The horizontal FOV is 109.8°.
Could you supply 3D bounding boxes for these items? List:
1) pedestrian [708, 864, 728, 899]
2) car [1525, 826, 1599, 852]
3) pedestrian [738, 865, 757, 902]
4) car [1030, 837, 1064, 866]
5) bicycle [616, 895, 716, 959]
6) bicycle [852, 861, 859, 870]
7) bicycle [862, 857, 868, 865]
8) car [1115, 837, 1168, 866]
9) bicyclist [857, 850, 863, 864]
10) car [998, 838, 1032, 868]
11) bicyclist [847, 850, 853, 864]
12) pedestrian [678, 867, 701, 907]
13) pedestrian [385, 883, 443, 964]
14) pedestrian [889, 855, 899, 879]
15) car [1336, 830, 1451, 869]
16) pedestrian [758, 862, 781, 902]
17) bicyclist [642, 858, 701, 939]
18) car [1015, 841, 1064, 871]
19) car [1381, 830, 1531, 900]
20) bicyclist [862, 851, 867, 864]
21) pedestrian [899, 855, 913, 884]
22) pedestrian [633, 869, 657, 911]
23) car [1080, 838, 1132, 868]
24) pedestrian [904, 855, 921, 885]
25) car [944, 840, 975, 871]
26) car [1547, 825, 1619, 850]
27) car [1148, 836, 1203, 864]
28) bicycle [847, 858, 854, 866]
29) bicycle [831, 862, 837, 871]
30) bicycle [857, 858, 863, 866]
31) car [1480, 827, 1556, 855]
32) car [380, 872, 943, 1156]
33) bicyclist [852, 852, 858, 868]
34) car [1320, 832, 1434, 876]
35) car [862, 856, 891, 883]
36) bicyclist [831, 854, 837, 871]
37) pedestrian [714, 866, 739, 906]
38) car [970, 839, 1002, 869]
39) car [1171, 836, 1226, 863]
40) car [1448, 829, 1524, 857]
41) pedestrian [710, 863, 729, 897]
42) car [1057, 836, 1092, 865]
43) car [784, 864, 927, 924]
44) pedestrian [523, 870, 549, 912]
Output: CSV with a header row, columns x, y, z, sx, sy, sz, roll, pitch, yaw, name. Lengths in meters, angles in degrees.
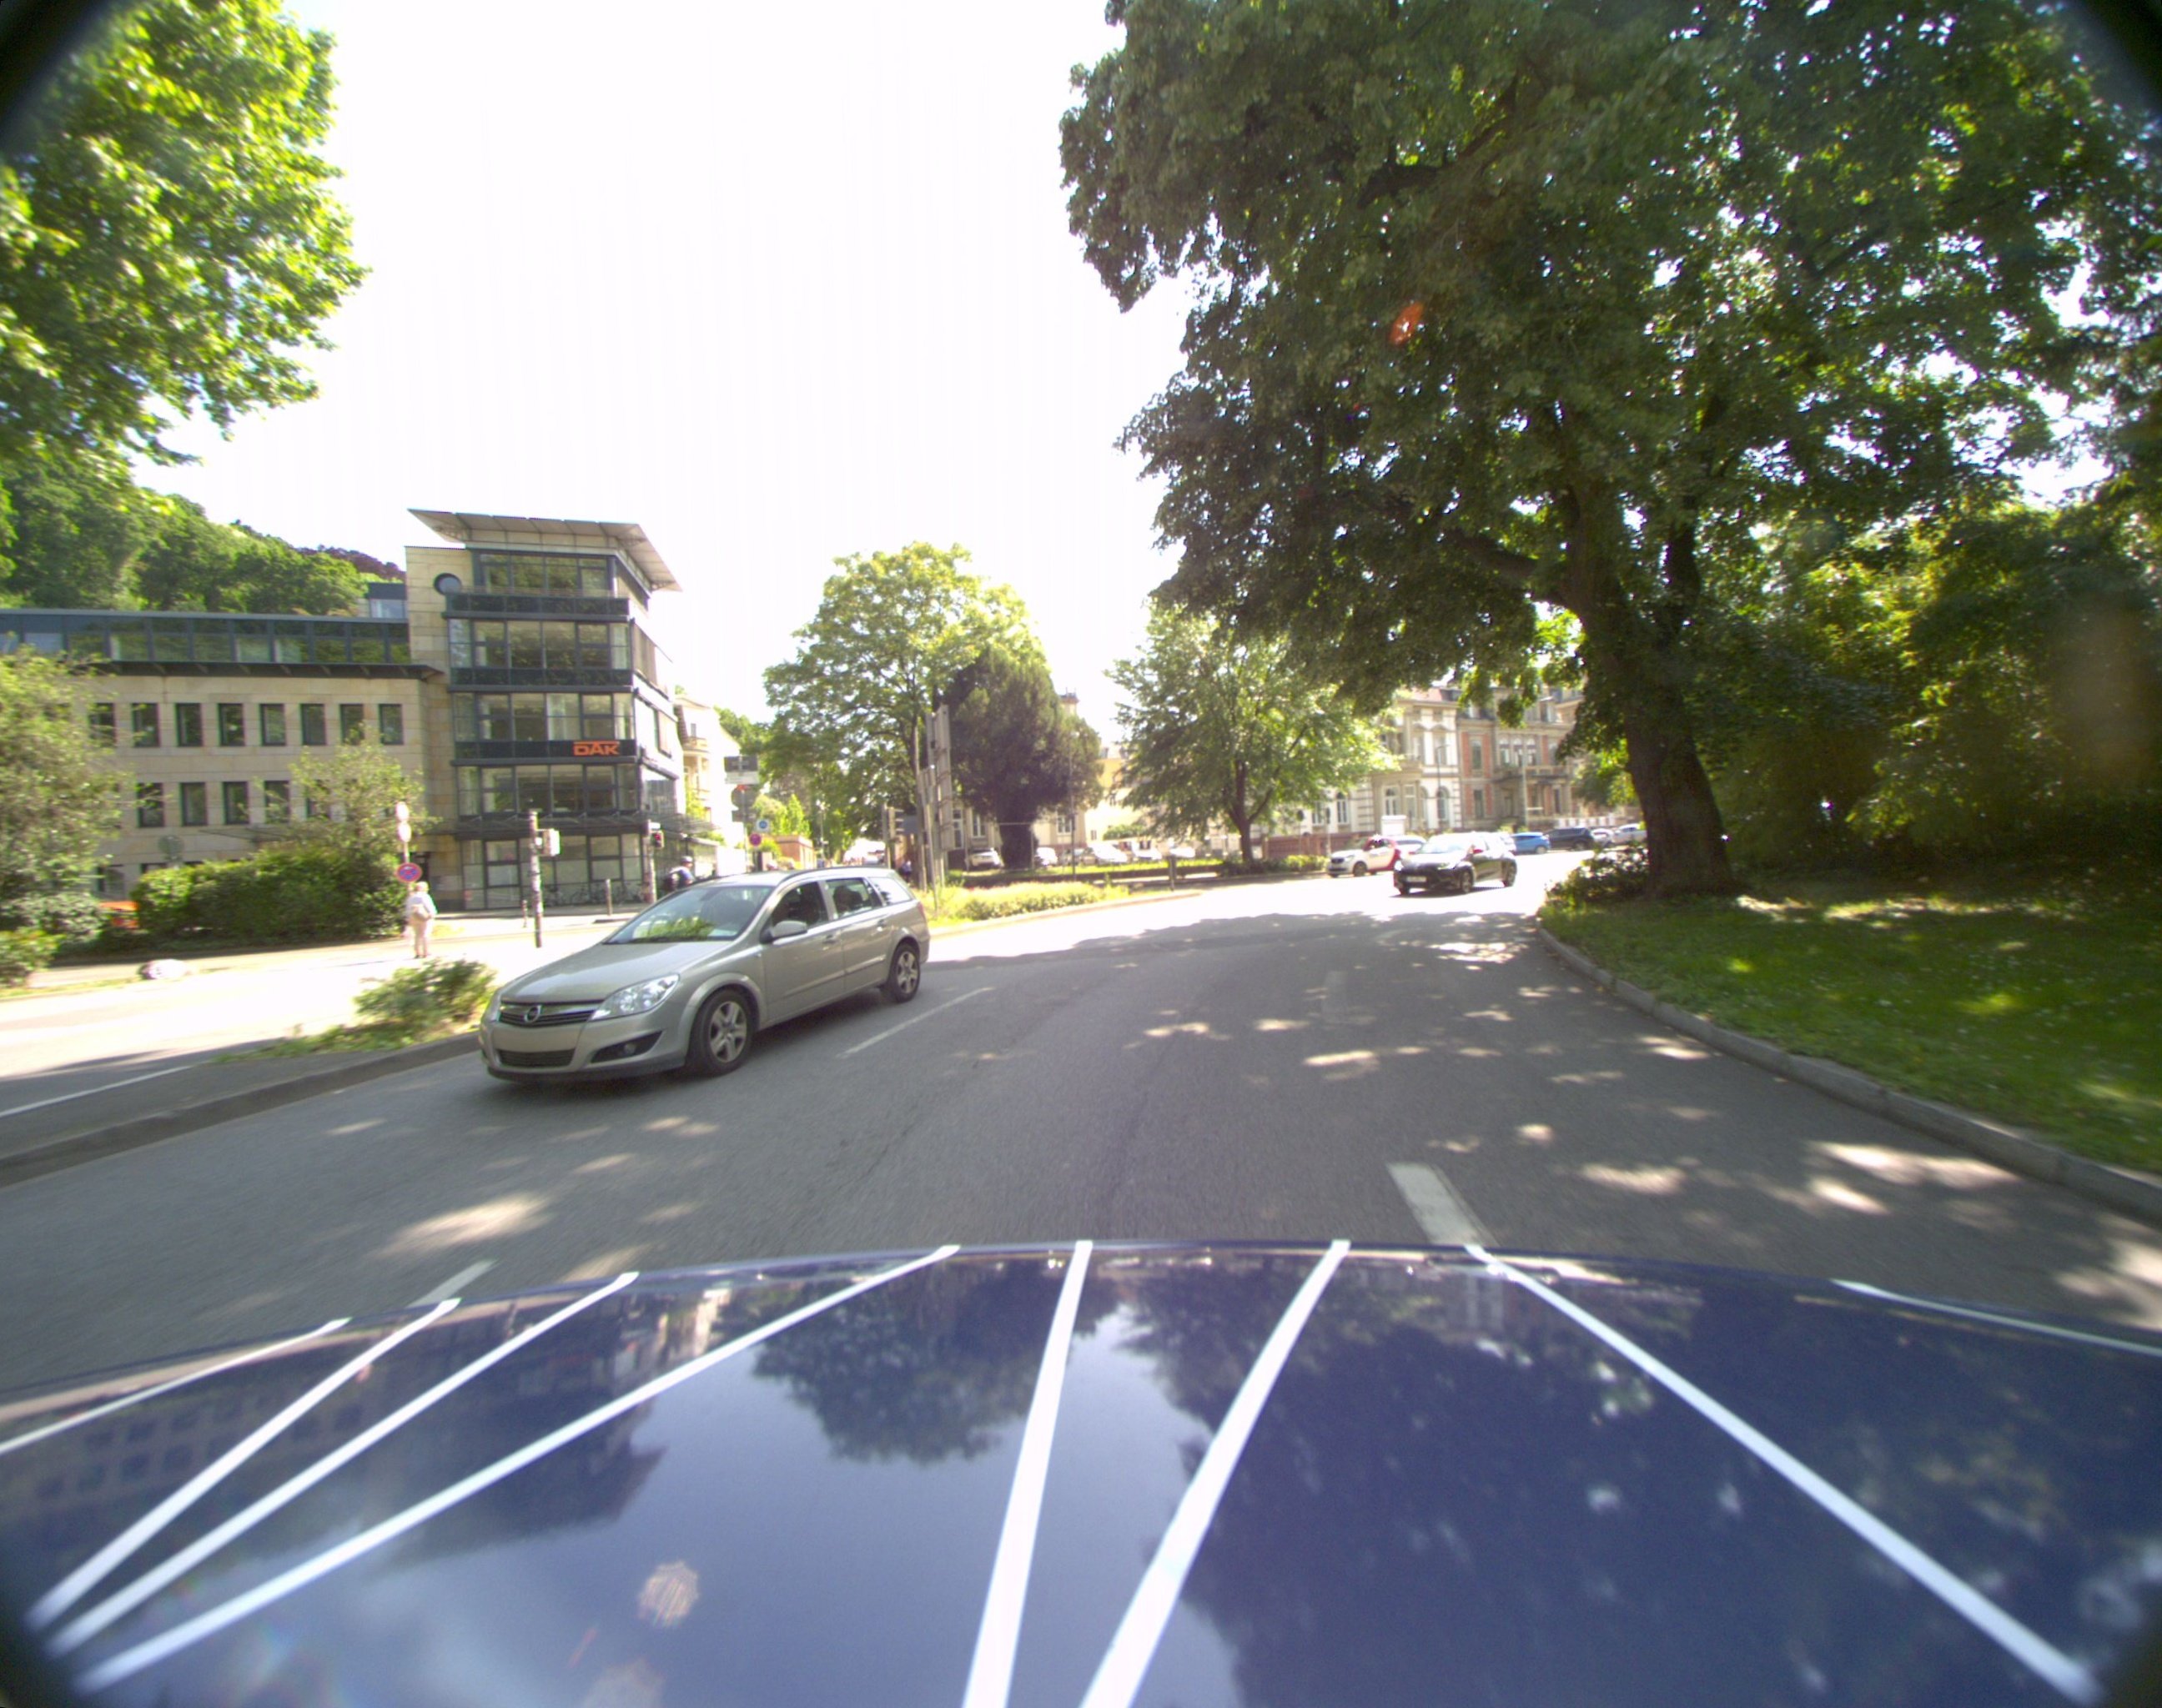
x,y,z,sx,sy,sz,roll,pitch,yaw,name
-17.910,1.352,37.496,0.602,1.695,0.604,-4,1,-10,pedestrian
31.725,-0.998,50.238,3.944,1.443,1.649,-4,1,28,car
-15.782,1.408,35.978,0.602,1.695,0.604,-4,1,-10,pedestrian
-2.635,-0.163,57.486,1.852,2.002,3.996,-3,0,-12,car
-8.485,1.458,15.662,0.711,1.048,2.207,-3,0,2,bicycle
-29.981,1.560,101.053,0.567,1.154,1.897,-3,0,-8,bicycle
-34.772,1.130,122.236,0.567,1.154,1.897,-3,0,-8,bicycle
3.729,-0.127,47.420,1.853,1.652,3.994,-3,0,-18,car
-32.163,0.470,110.618,0.574,2.002,0.906,-3,1,-8,bicyclist
-4.851,-0.054,55.249,1.852,2.002,3.996,-3,0,-12,car
-33.533,0.503,110.391,0.574,2.002,0.906,-3,1,-8,bicyclist
-17.344,1.454,33.652,0.604,1.695,0.689,-4,1,-9,pedestrian
-14.499,1.500,16.528,0.712,1.663,0.534,-3,1,-18,pedestrian
-13.515,0.927,54.993,0.603,1.695,0.603,-4,1,-15,pedestrian
13.862,-0.211,33.729,4.692,1.443,1.809,-4,1,-21,car
-13.789,1.223,33.648,0.701,1.695,0.602,-4,1,-1,pedestrian
-8.517,0.906,15.823,0.711,1.603,0.732,-3,1,2,bicyclist
-2.549,0.134,45.625,1.853,1.652,3.994,-3,0,-18,car
9.757,0.235,19.699,3.960,1.443,1.807,-5,2,-36,car
-34.778,0.576,122.179,0.574,2.002,0.894,-3,1,-8,bicyclist
-10.314,0.918,44.754,0.605,1.695,0.535,-4,1,-24,pedestrian
-18.521,1.513,32.306,0.691,1.695,0.601,-4,1,-19,pedestrian
1.490,-0.030,46.427,1.853,1.652,3.994,-3,0,-18,car
-9.784,0.905,44.105,0.605,1.695,0.601,-4,1,-42,pedestrian
-8.747,0.107,54.380,1.852,2.002,3.996,-3,0,-12,car
34.634,-1.136,52.549,3.944,1.443,1.814,-4,1,28,car
5.958,-0.222,48.245,1.853,1.652,3.994,-3,0,-18,car
-33.462,1.211,110.461,0.567,1.154,1.897,-3,0,-8,bicycle
-31.169,1.576,96.024,0.567,1.154,1.896,-3,0,-14,bicycle
-32.127,1.160,110.427,0.567,1.154,1.897,-3,0,-8,bicycle
27.827,-0.828,48.467,3.945,1.443,1.649,-4,1,22,car
-3.059,1.040,6.805,1.710,1.513,4.411,-4,0,16,car
-30.018,0.788,101.002,0.574,2.002,1.048,-3,1,-8,bicyclist
11.695,-0.002,30.023,3.957,1.443,1.809,-4,1,-21,car
-14.183,1.069,52.523,1.853,1.777,3.994,1,0,-16,car
-31.205,1.078,96.041,0.574,2.002,0.748,-3,1,-13,bicyclist
-15.421,1.387,33.061,0.653,1.695,0.646,-3,1,2,pedestrian
-6.873,0.030,54.803,1.852,2.002,3.996,-3,0,-12,car
7.636,-0.260,49.563,1.853,1.569,3.994,-3,0,-18,car
25.030,-0.705,47.115,3.945,1.443,1.649,-4,1,22,car
-18.810,1.338,39.550,0.602,1.695,0.729,-4,1,-10,pedestrian
-0.531,-0.248,57.834,1.852,2.002,3.996,-3,0,-12,car
-6.871,1.160,23.137,3.957,1.443,1.809,-4,1,-21,car
-23.349,1.577,32.550,0.604,1.695,0.689,-4,1,-13,pedestrian
